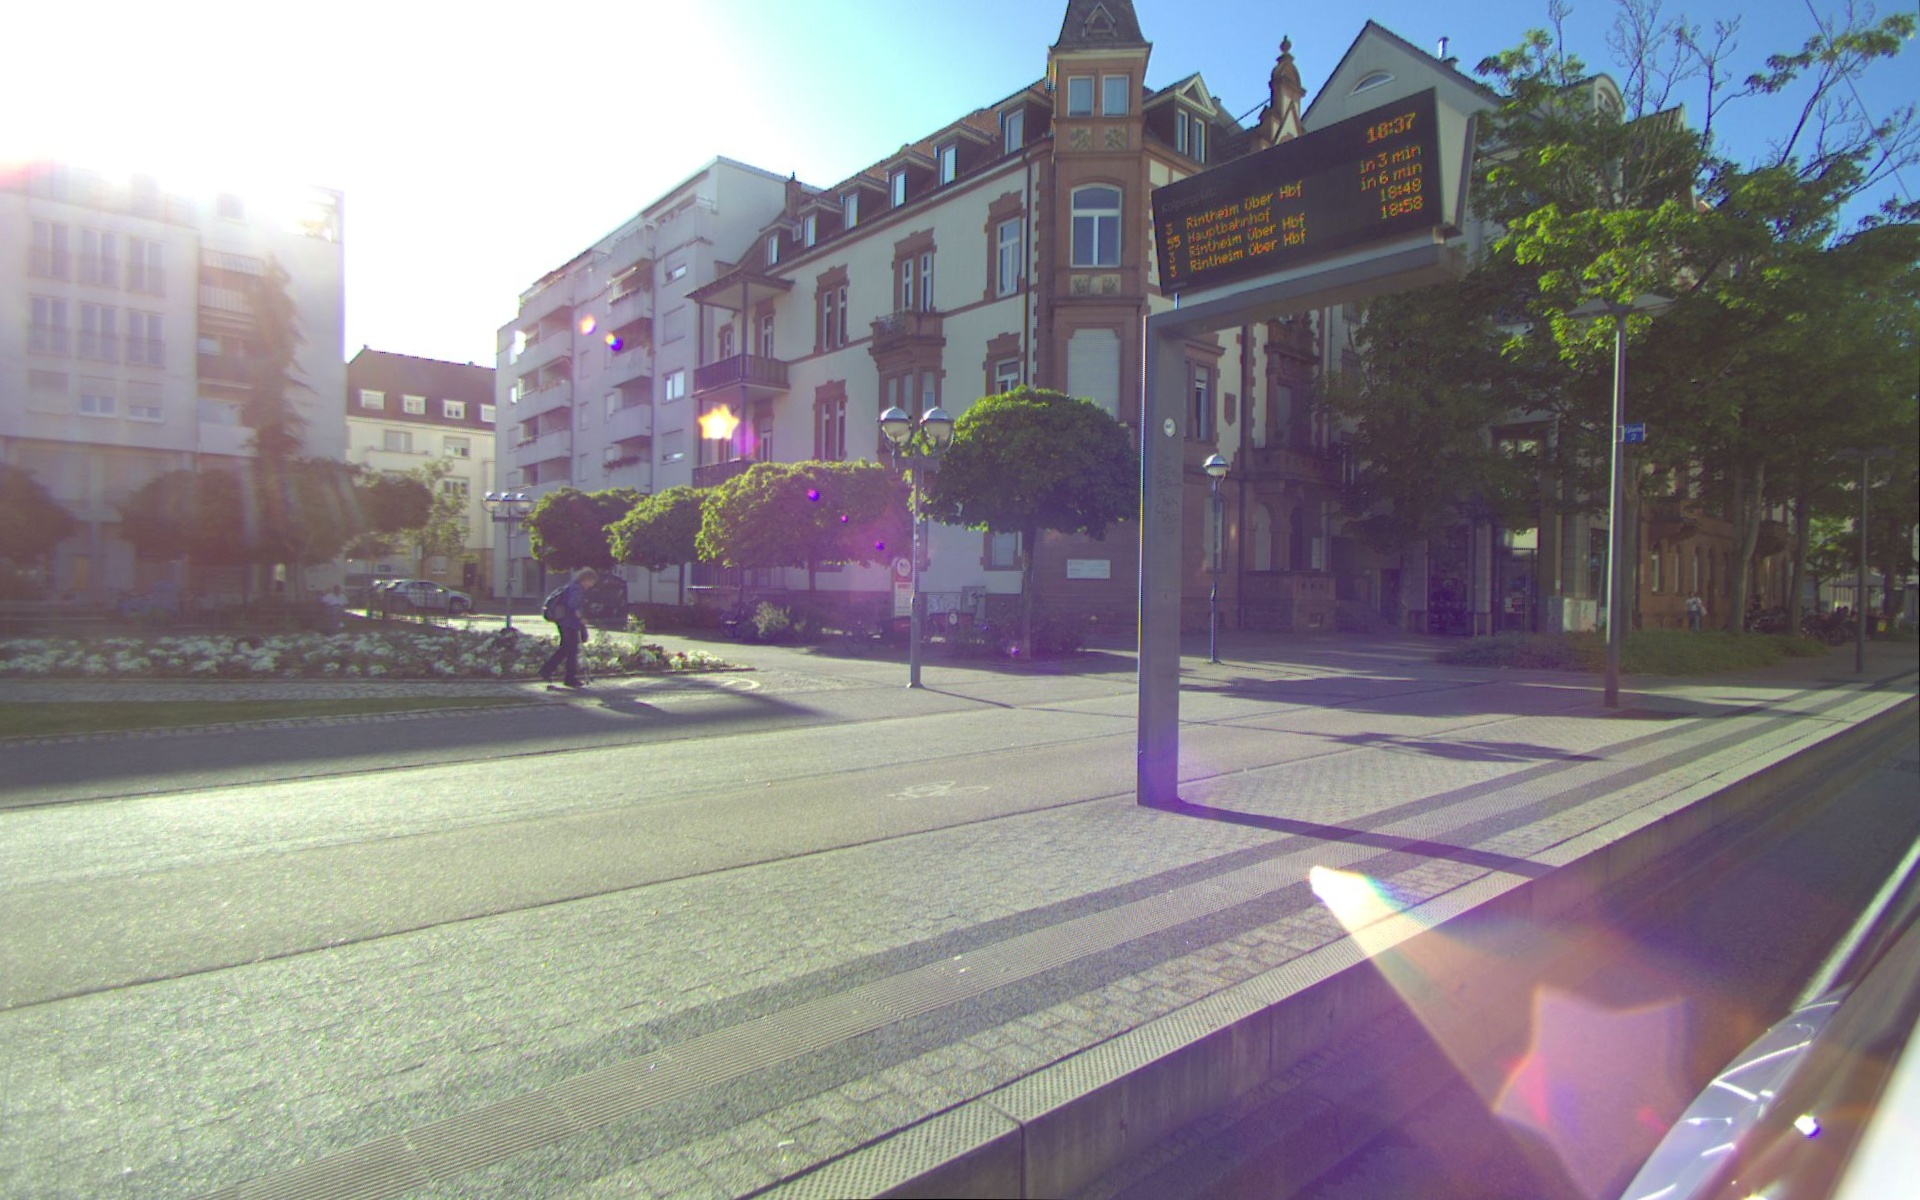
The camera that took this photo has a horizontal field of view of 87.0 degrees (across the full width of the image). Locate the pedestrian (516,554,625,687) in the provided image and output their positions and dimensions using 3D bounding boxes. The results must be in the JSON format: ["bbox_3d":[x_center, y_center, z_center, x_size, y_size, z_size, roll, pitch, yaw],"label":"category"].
[{"bbox_3d":[-5.205,0.246,13.525,1.064,1.689,0.944,1,1,37],"label":"pedestrian"}]

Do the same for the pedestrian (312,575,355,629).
[{"bbox_3d":[-16.982,0.032,27.457,0.917,1.429,1.529,0,1,-30],"label":"pedestrian"}]

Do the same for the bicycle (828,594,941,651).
[{"bbox_3d":[-1.609,0.456,22.173,0.787,1.081,2.767,1,3,40],"label":"bicycle"}]

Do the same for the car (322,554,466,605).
[{"bbox_3d":[-30.767,-1.088,55.158,2.805,2.587,6.297,1,1,43],"label":"car"}]

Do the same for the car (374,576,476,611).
[{"bbox_3d":[-24.312,-0.291,46.031,3.923,1.536,2.001,0,1,-34],"label":"car"}]

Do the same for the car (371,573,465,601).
[{"bbox_3d":[-26.989,-0.638,50.413,3.923,1.304,2.001,0,1,-34],"label":"car"}]

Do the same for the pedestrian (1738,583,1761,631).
[{"bbox_3d":[33.909,0.282,43.467,0.549,2.039,0.654,1,0,-38],"label":"pedestrian"}]

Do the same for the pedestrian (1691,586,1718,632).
[{"bbox_3d":[29.094,0.356,39.536,0.740,1.757,0.864,1,0,43],"label":"pedestrian"}]

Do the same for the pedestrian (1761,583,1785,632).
[{"bbox_3d":[34.393,0.316,42.805,0.549,2.039,0.654,1,0,-38],"label":"pedestrian"}]

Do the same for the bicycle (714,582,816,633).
[{"bbox_3d":[-5.521,0.204,28.867,2.864,1.389,0.745,0,1,-41],"label":"bicycle"}]
